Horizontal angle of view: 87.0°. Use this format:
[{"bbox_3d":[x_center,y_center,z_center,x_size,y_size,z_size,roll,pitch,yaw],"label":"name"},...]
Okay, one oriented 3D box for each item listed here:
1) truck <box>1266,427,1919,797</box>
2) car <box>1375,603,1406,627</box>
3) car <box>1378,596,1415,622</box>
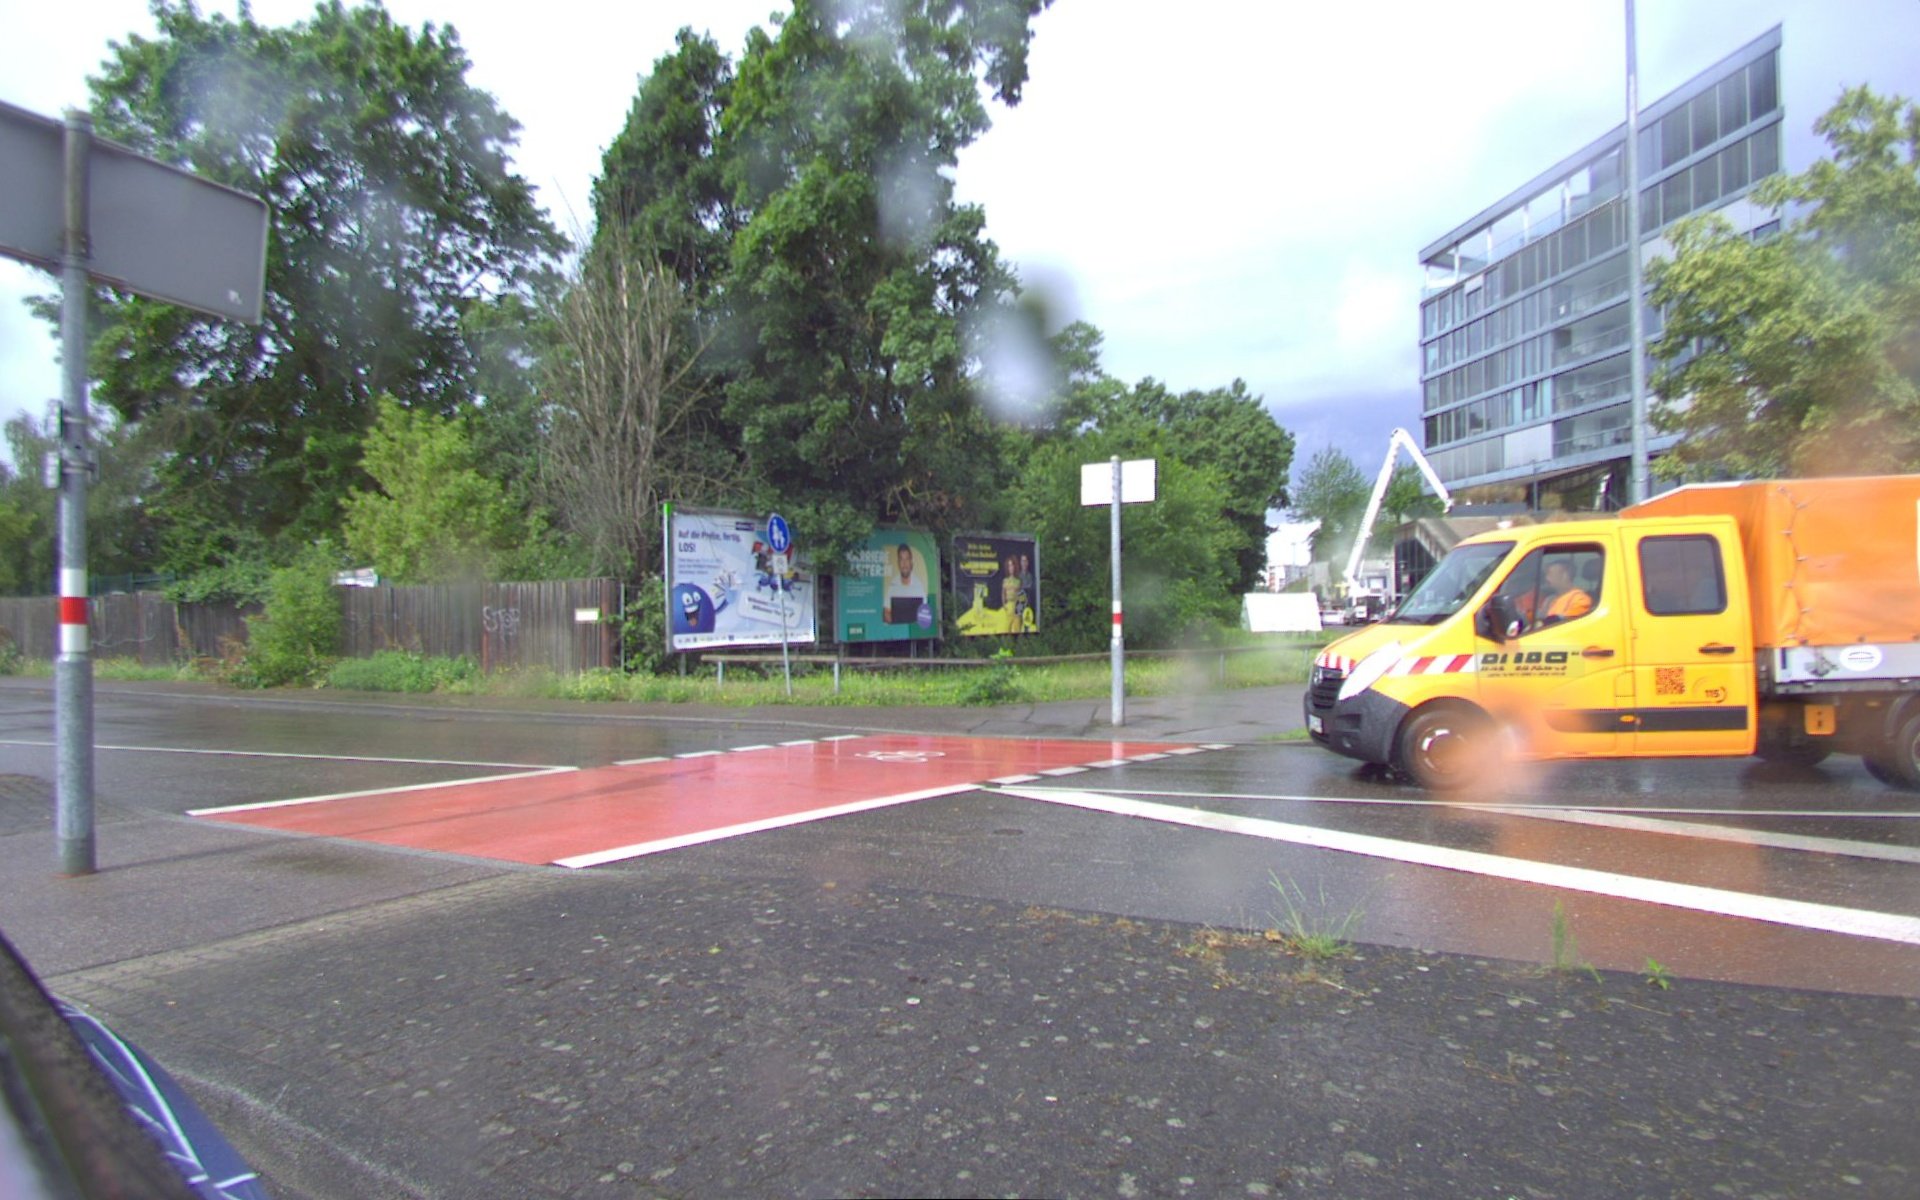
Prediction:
[{"bbox_3d":[6.467,0.115,8.867,6.865,2.747,2.456,-1,-1,8],"label":"truck"},{"bbox_3d":[32.265,1.181,75.984,1.853,1.685,4.440,-1,-2,20],"label":"car"},{"bbox_3d":[30.340,0.651,70.490,1.851,1.685,4.445,-1,-2,17],"label":"car"}]
